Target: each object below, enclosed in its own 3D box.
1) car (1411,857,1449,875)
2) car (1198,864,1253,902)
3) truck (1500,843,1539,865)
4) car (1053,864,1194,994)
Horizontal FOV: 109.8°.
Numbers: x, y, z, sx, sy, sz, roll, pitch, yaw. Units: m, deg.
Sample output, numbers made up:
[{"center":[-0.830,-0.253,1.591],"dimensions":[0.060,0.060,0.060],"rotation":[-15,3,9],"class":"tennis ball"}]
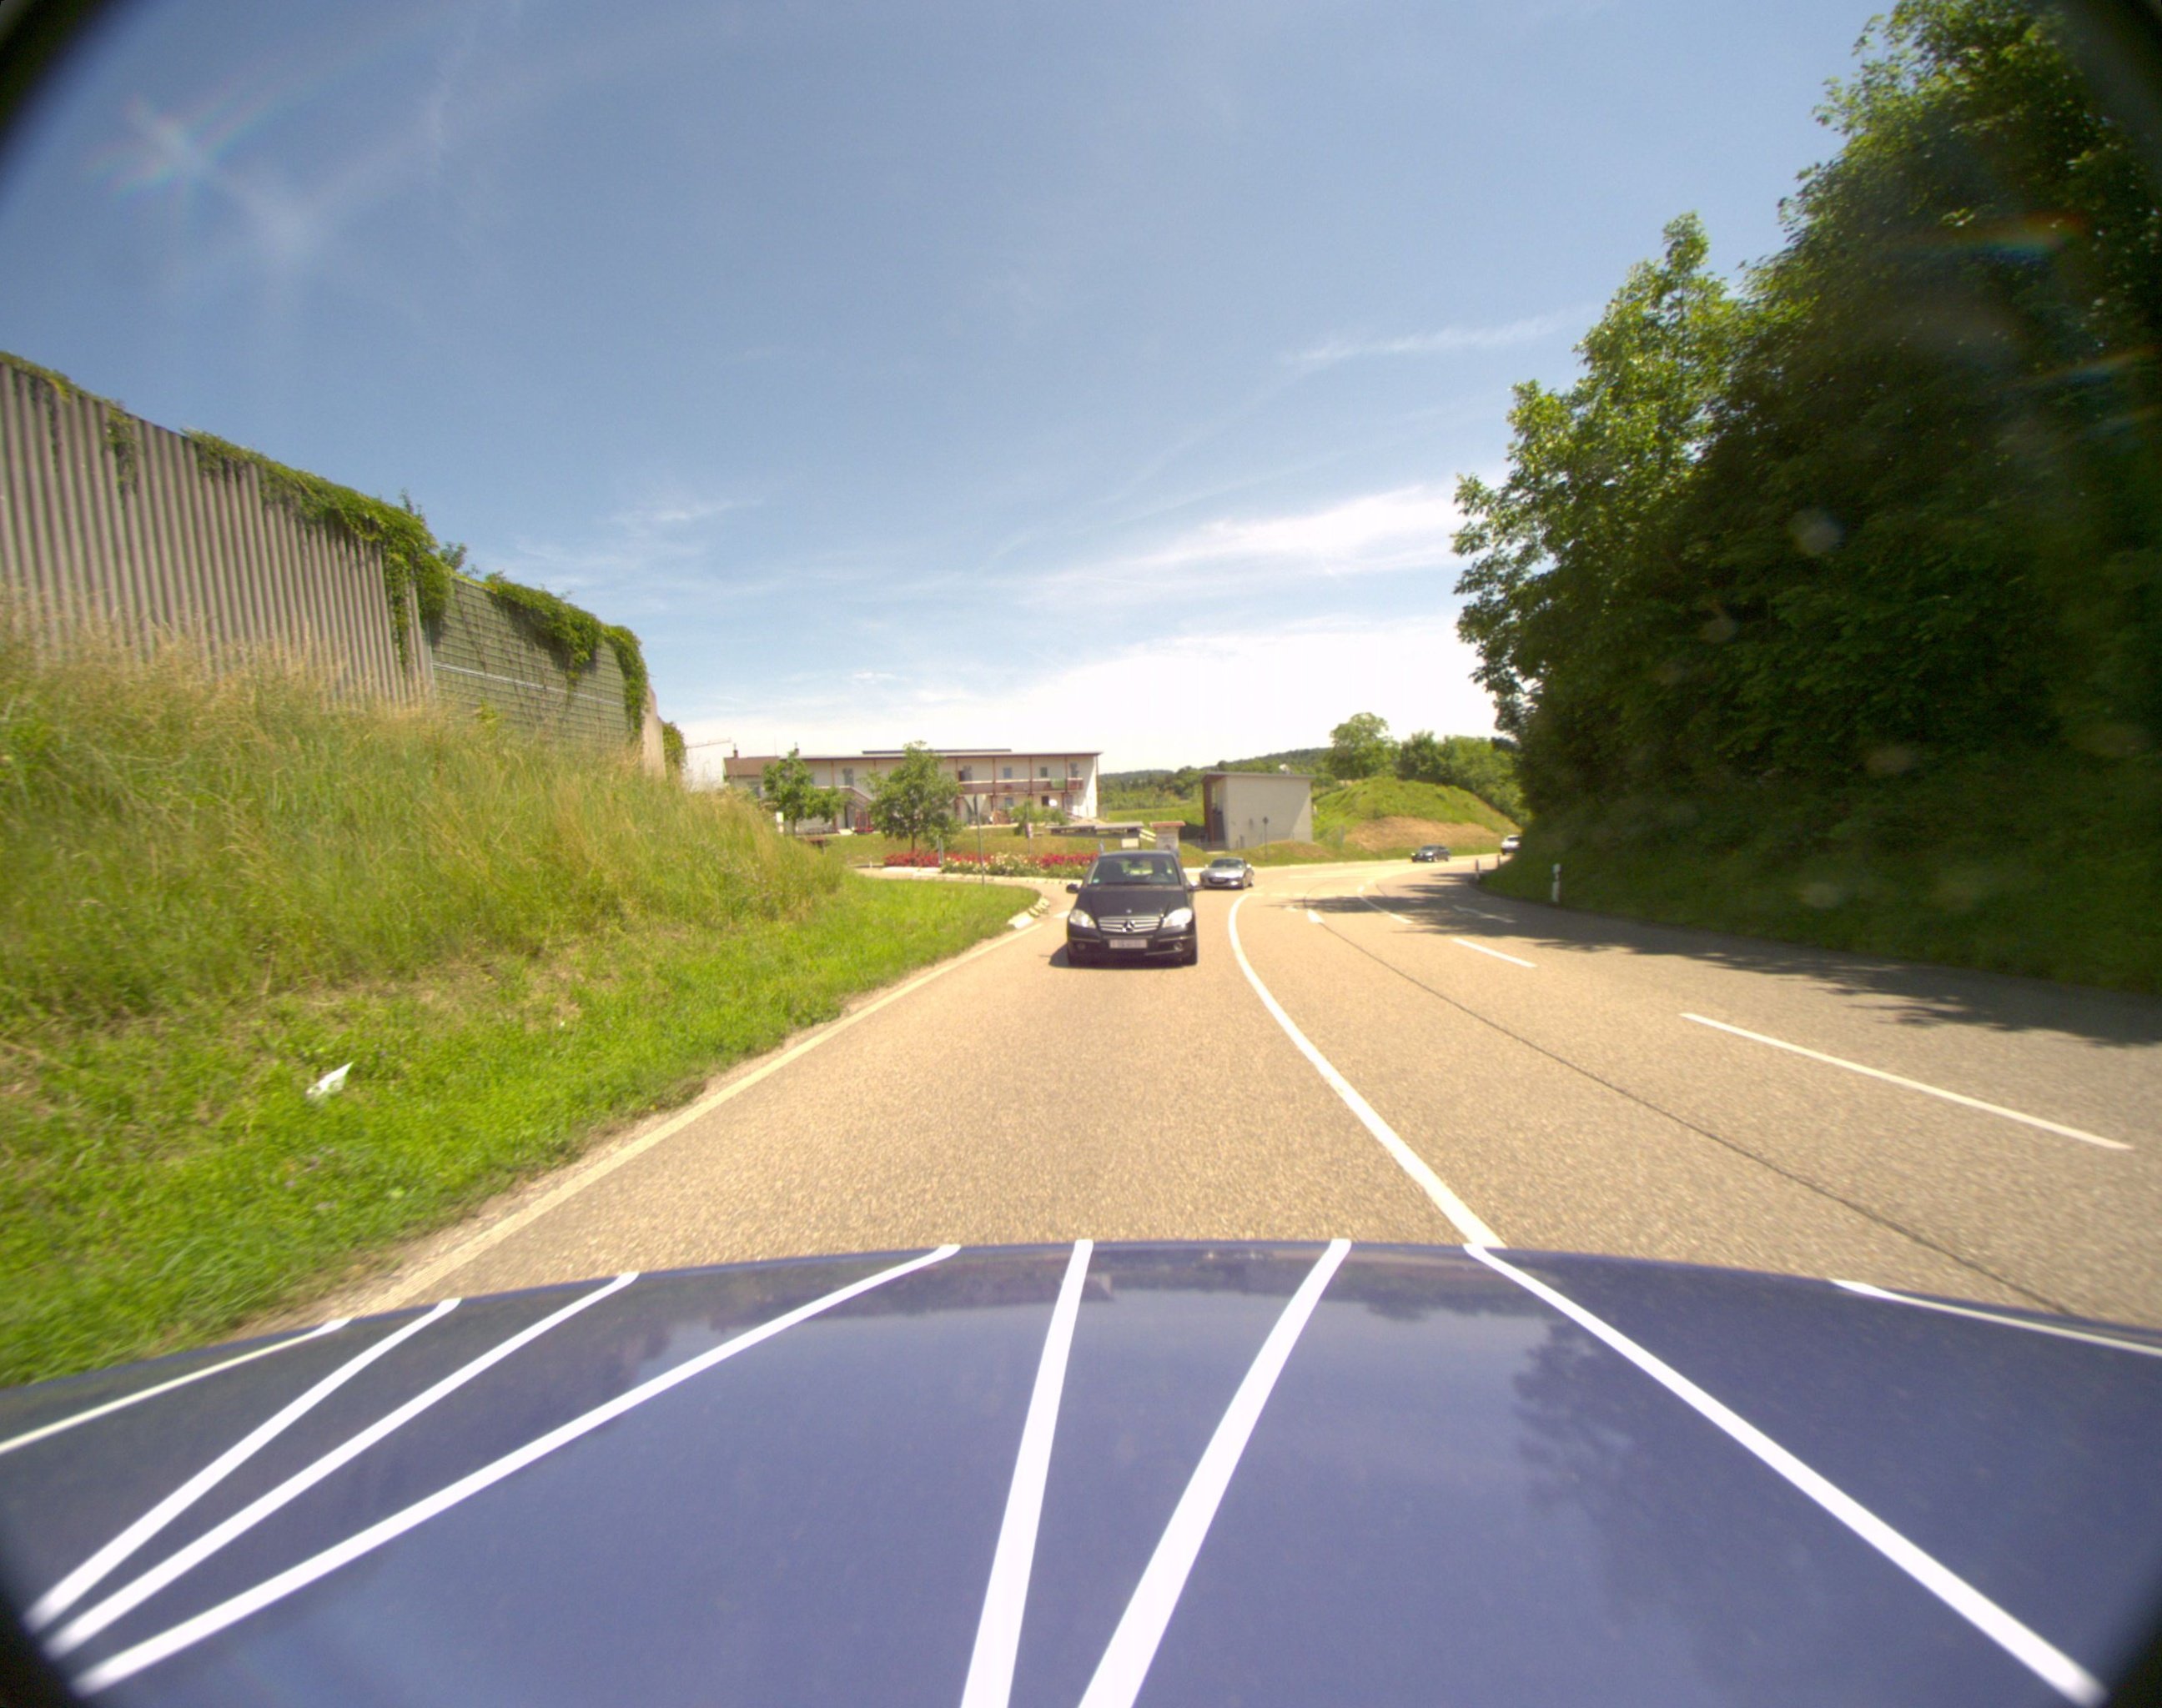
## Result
[{"center":[27.899,0.907,60.699],"dimensions":[1.751,1.281,4.154],"rotation":[3,2,39],"class":"car"},{"center":[5.827,1.102,30.415],"dimensions":[1.645,1.315,3.442],"rotation":[1,1,20],"class":"car"},{"center":[42.878,0.000,74.289],"dimensions":[2.067,2.001,5.255],"rotation":[-1,1,44],"class":"truck"},{"center":[0.748,0.970,11.571],"dimensions":[1.795,1.570,3.801],"rotation":[0,1,6],"class":"car"}]
